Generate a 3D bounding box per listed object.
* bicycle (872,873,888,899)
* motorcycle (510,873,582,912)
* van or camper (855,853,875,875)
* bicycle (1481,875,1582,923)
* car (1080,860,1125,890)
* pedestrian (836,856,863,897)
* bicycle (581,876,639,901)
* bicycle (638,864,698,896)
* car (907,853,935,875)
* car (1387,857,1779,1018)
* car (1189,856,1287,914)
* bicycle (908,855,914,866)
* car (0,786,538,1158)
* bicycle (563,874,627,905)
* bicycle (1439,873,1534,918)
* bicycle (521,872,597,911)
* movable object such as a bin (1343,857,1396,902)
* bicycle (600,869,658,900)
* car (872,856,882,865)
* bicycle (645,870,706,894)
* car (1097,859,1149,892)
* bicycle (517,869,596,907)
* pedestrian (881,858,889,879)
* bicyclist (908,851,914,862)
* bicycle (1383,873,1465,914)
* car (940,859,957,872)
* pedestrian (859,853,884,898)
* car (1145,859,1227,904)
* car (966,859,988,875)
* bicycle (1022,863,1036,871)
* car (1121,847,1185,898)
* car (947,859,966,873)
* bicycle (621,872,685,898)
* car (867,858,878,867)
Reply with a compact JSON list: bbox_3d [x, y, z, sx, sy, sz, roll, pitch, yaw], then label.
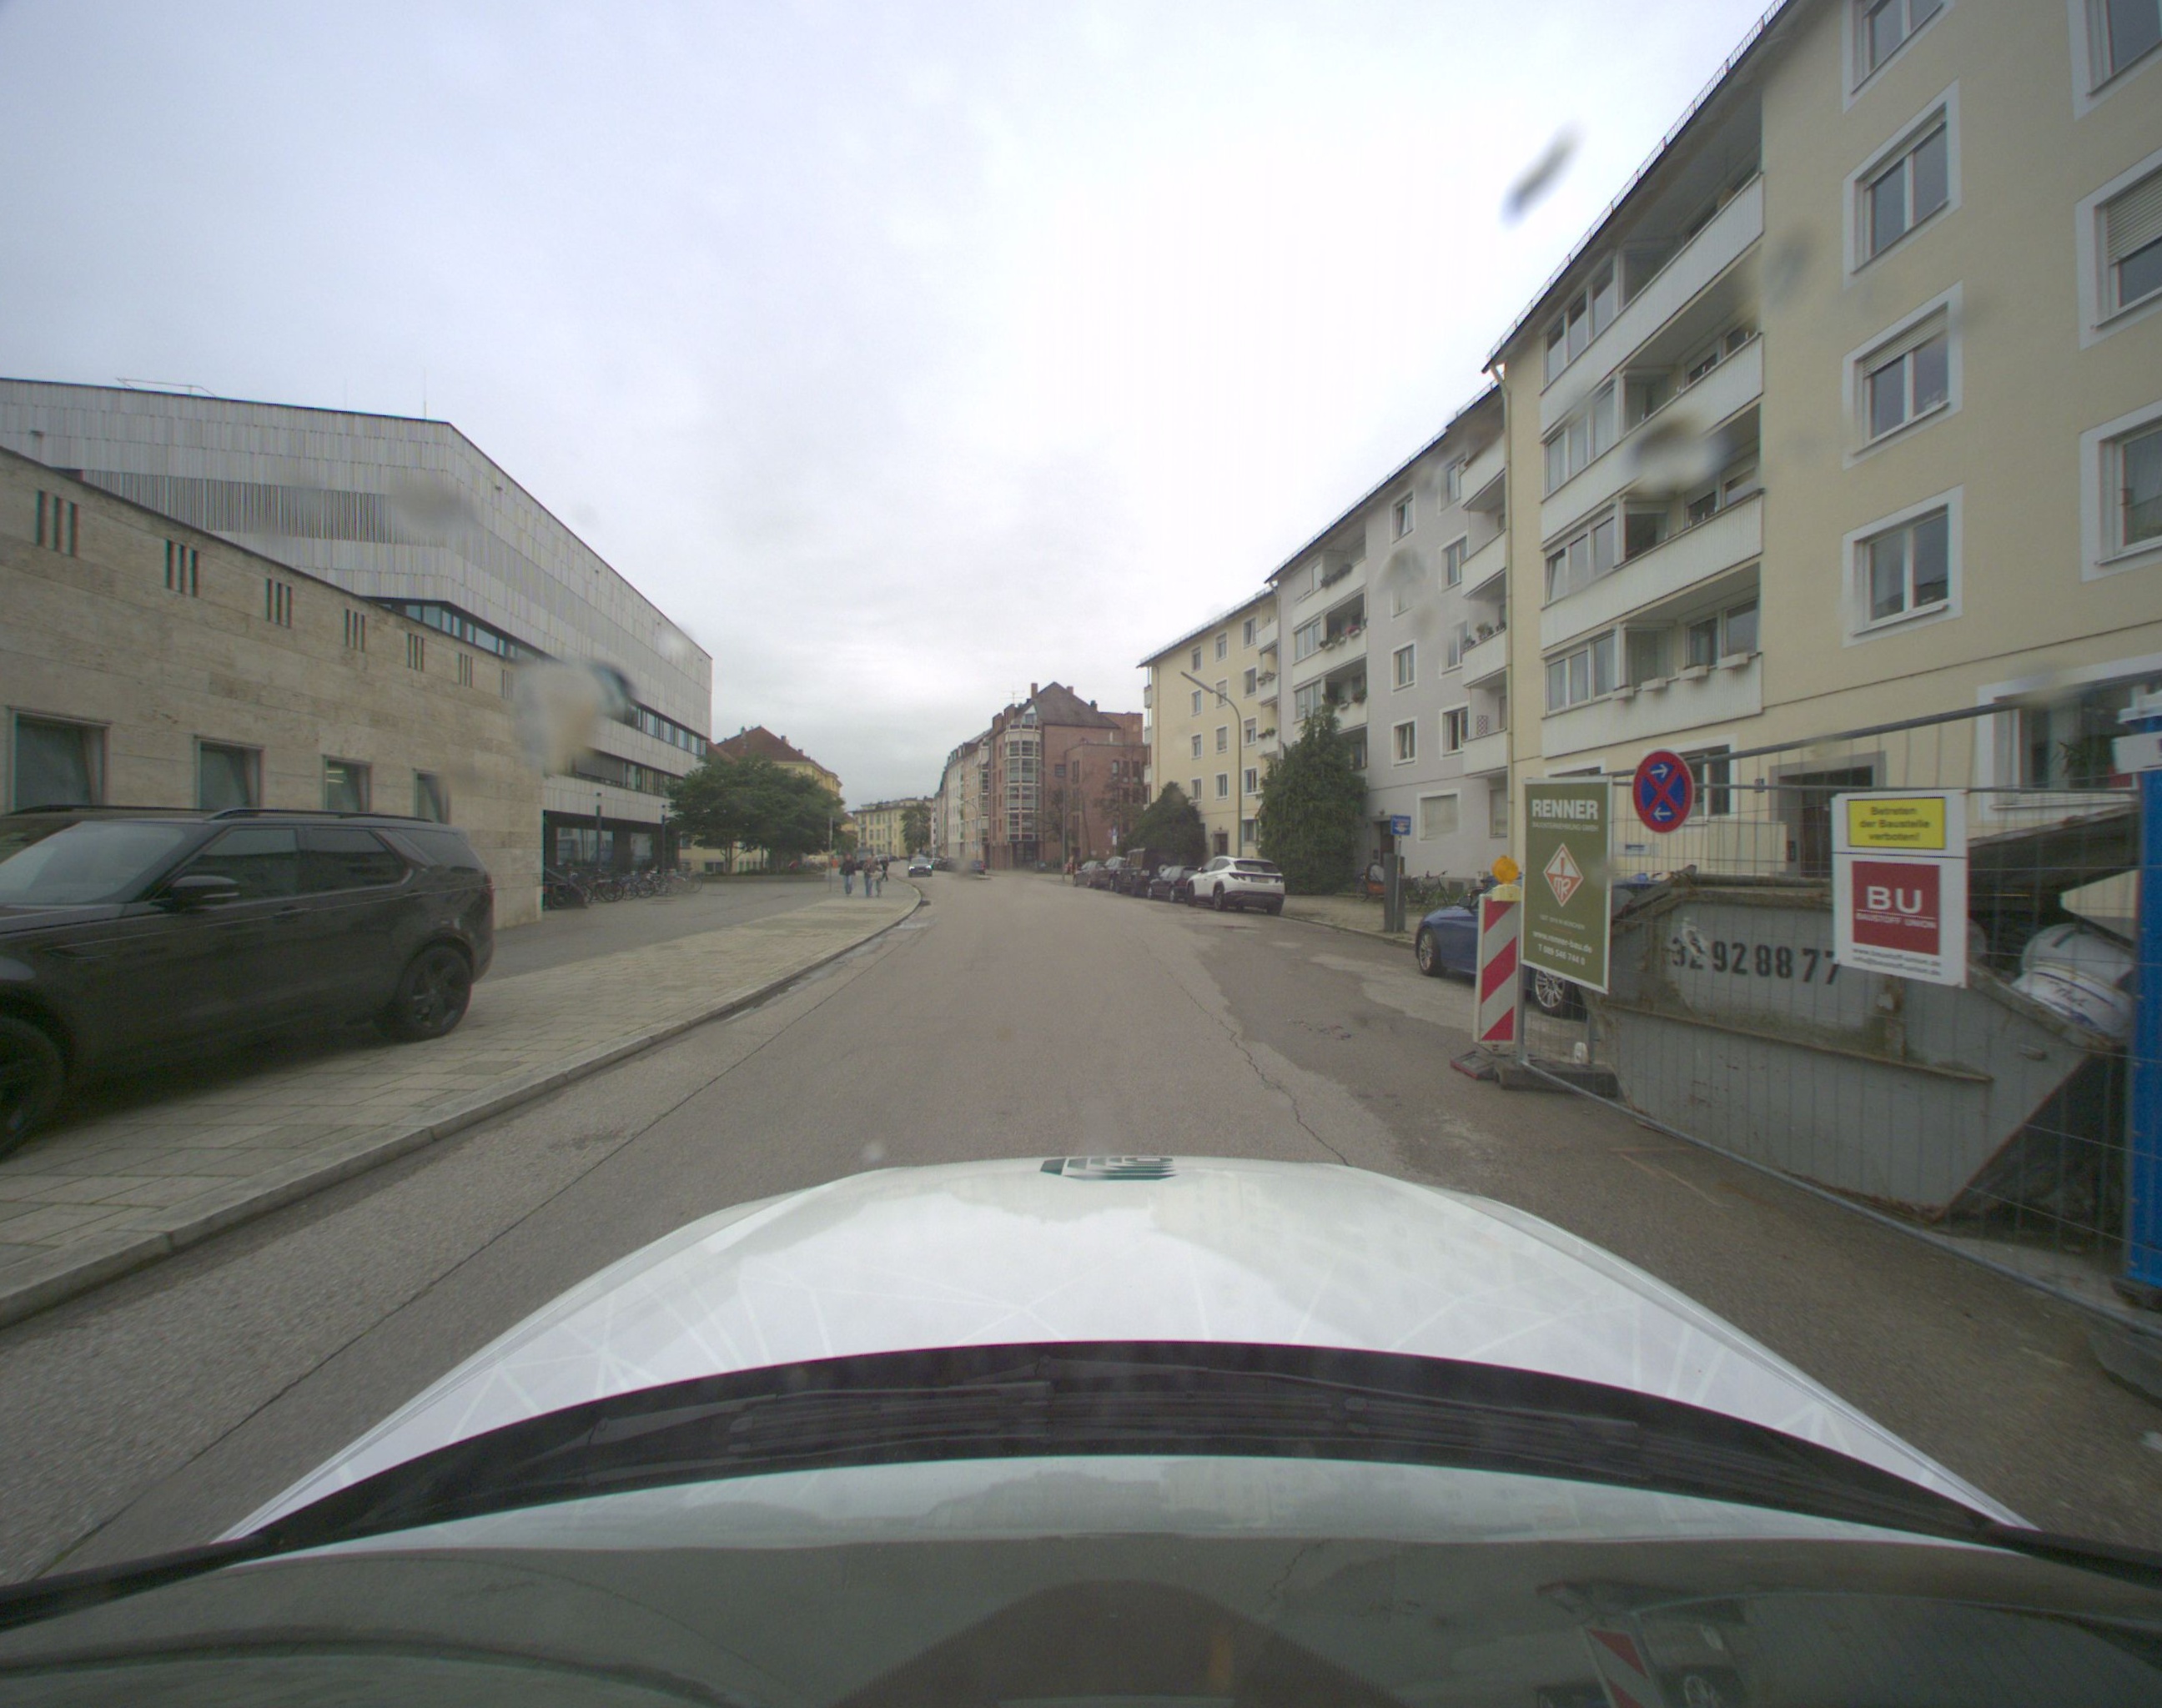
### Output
[{"bbox_3d":[-8.122,1.278,32.938,0.388,0.969,1.712,0,0,-6],"label":"bicycle"},{"bbox_3d":[-15.163,1.076,23.097,1.609,1.070,0.511,1,-1,-15],"label":"motorcycle"},{"bbox_3d":[-25.271,1.160,95.420,2.099,2.551,4.750,1,0,-13],"label":"van or camper"},{"bbox_3d":[10.761,1.064,19.499,2.005,1.016,0.774,-2,0,-6],"label":"bicycle"},{"bbox_3d":[1.124,1.077,43.571,1.780,1.510,3.708,0,0,-9],"label":"car"},{"bbox_3d":[-9.395,0.890,33.027,0.758,1.630,0.922,0,-1,4],"label":"pedestrian"},{"bbox_3d":[-16.502,1.208,28.577,1.650,0.797,0.525,4,-2,-19],"label":"bicycle"},{"bbox_3d":[-16.779,1.047,33.107,2.035,1.156,0.591,4,-2,-17],"label":"bicycle"},{"bbox_3d":[-13.738,0.825,69.934,1.998,1.835,4.143,0,0,-17],"label":"car"},{"bbox_3d":[5.340,0.753,9.468,1.777,1.438,4.276,0,0,-3],"label":"car"},{"bbox_3d":[4.618,0.870,24.467,1.828,1.574,3.992,0,0,-6],"label":"car"},{"bbox_3d":[-32.328,1.239,154.706,1.026,2.014,3.267,0,-5,-12],"label":"bicycle"},{"bbox_3d":[-6.133,0.562,5.309,2.047,1.736,4.880,0,-1,-3],"label":"car"},{"bbox_3d":[-16.031,1.157,26.904,1.648,0.913,0.594,4,-2,-15],"label":"bicycle"},{"bbox_3d":[10.184,1.031,20.480,2.006,1.016,0.774,-2,0,-7],"label":"bicycle"},{"bbox_3d":[-15.325,1.090,23.933,1.711,1.033,0.537,4,-2,-15],"label":"bicycle"},{"bbox_3d":[9.850,0.856,27.819,1.290,1.434,1.048,-4,0,-10],"label":"movable object such as a bin"},{"bbox_3d":[-16.542,1.118,29.839,1.731,1.033,0.525,4,-2,-19],"label":"bicycle"},{"bbox_3d":[-37.015,1.156,147.981,1.634,1.483,3.595,1,0,-12],"label":"car"},{"bbox_3d":[-17.133,1.181,34.464,2.120,0.879,0.824,4,-1,-17],"label":"bicycle"},{"bbox_3d":[1.980,1.006,39.188,1.780,1.510,3.708,1,-1,-9],"label":"car"},{"bbox_3d":[-16.202,1.052,25.203,1.912,1.033,0.537,4,-2,-15],"label":"bicycle"},{"bbox_3d":[-13.839,1.027,57.636,0.461,1.460,0.442,1,-2,-5],"label":"pedestrian"},{"bbox_3d":[-32.398,0.482,154.947,1.034,2.014,1.180,1,-2,-13],"label":"bicyclist"},{"bbox_3d":[9.644,1.097,22.923,2.006,1.016,0.774,-2,0,-7],"label":"bicycle"},{"bbox_3d":[-15.277,1.342,93.806,1.636,1.483,3.591,0,0,-16],"label":"car"},{"bbox_3d":[-8.486,0.861,33.054,0.733,1.768,0.921,0,-1,1],"label":"pedestrian"},{"bbox_3d":[3.726,0.951,29.450,1.783,1.519,3.704,1,0,-13],"label":"car"},{"bbox_3d":[-10.128,1.273,79.009,1.636,1.483,3.591,1,0,-16],"label":"car"},{"bbox_3d":[-5.517,1.397,86.793,1.104,0.854,1.717,1,-1,-19],"label":"bicycle"},{"bbox_3d":[2.923,0.735,33.812,1.780,1.977,3.708,-2,0,-9],"label":"car"},{"bbox_3d":[-13.626,1.334,88.920,1.636,1.483,3.591,1,0,-16],"label":"car"},{"bbox_3d":[-16.522,1.190,31.498,2.035,0.886,0.671,4,-1,-17],"label":"bicycle"},{"bbox_3d":[-33.294,1.378,129.866,1.636,1.483,3.591,1,0,-16],"label":"car"}]
